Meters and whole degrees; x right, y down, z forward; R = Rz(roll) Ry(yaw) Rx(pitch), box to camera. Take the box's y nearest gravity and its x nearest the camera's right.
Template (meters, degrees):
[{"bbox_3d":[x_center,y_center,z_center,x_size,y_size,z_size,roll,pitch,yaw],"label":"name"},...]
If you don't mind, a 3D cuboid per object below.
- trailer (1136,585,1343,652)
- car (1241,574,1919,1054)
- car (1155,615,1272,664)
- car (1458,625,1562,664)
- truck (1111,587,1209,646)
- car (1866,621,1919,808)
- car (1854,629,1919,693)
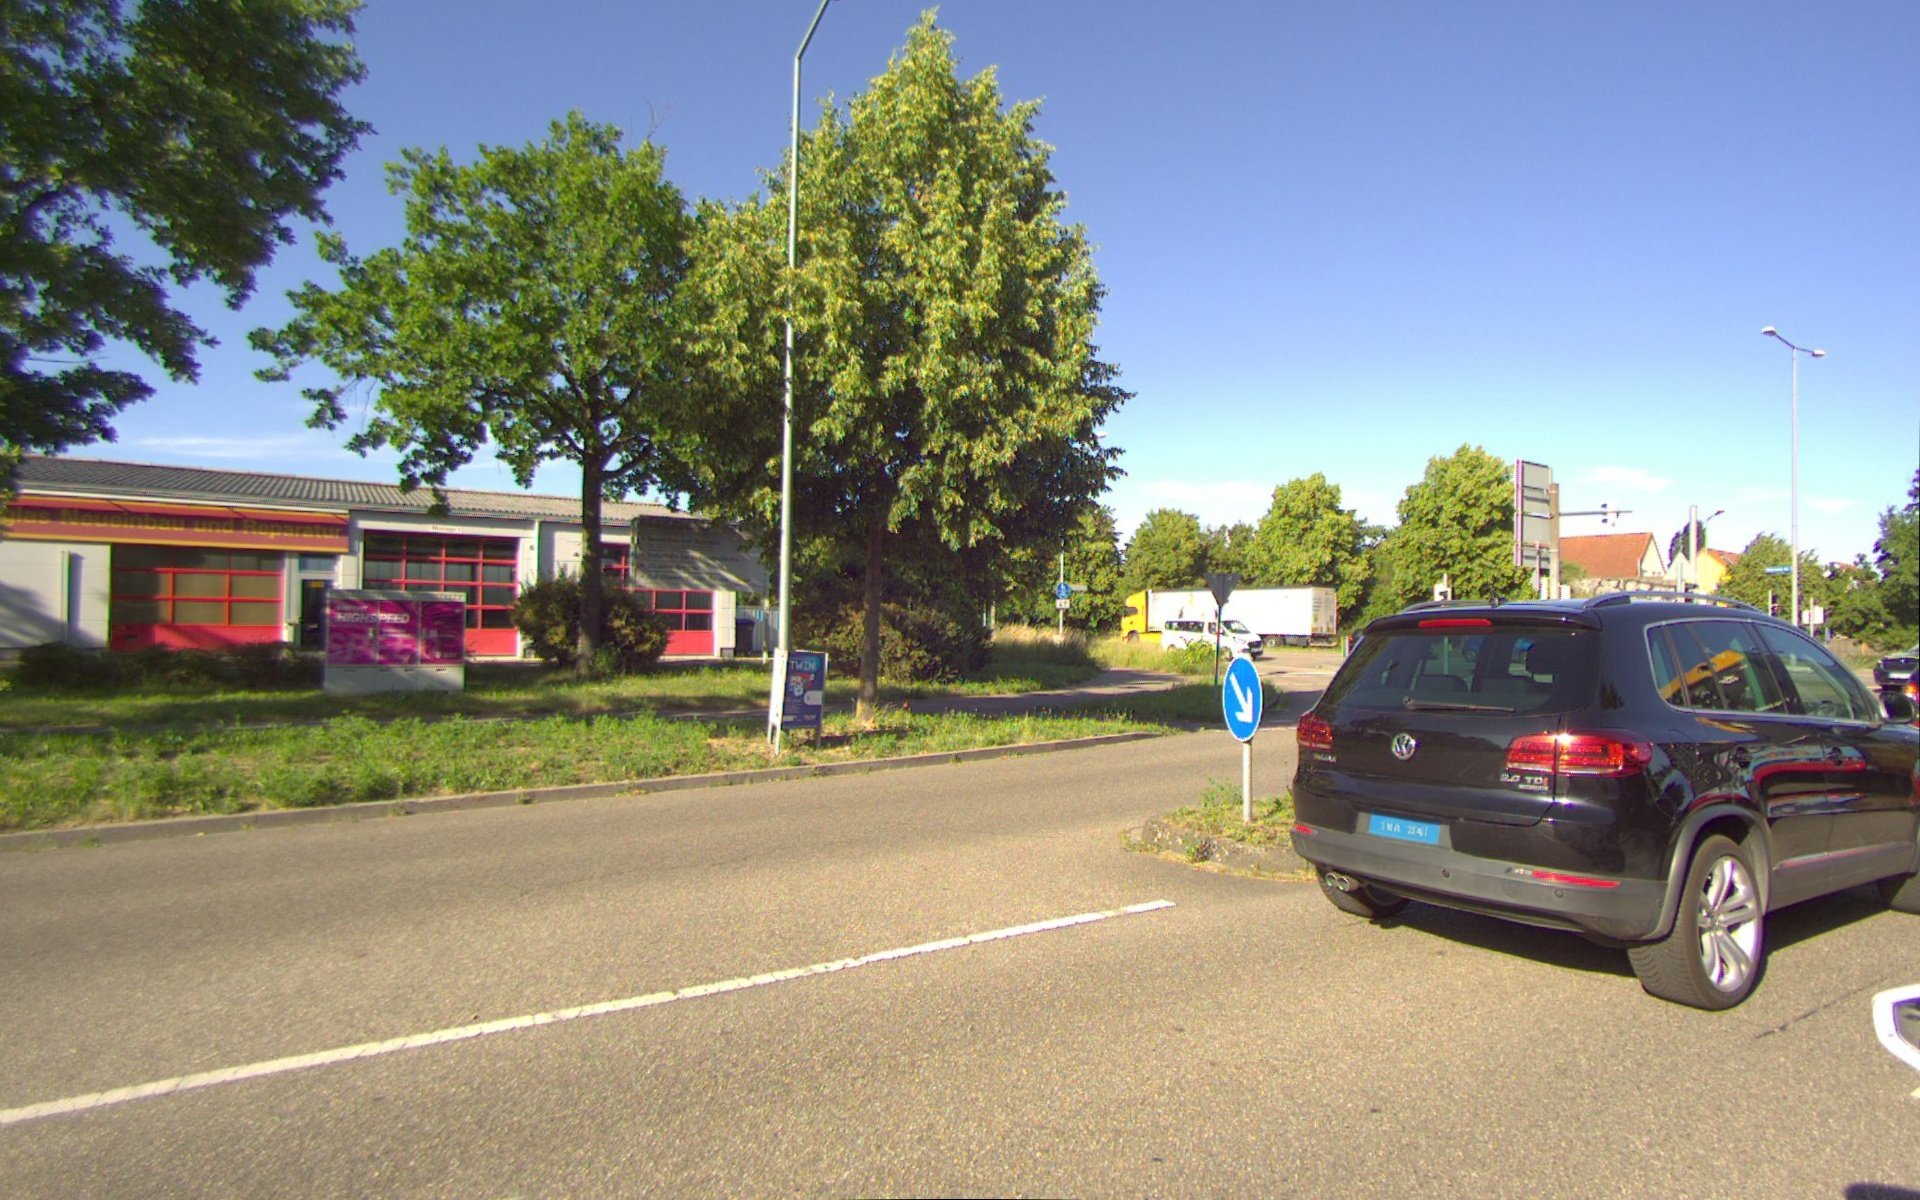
[{"bbox_3d":[18.259,1.180,67.366,3.406,4.066,14.560,1,-1,-35],"label":"trailer"},{"bbox_3d":[3.559,0.824,5.313,3.954,1.675,1.763,1,-3,-31],"label":"car"},{"bbox_3d":[12.060,1.827,48.106,2.160,2.146,5.350,2,-1,-35],"label":"car"},{"bbox_3d":[23.764,1.907,43.495,1.733,1.581,3.559,2,-2,-35],"label":"car"},{"bbox_3d":[14.431,1.187,72.836,3.407,4.066,6.433,1,-1,-35],"label":"truck"},{"bbox_3d":[10.237,1.010,9.214,3.954,1.610,1.753,1,-3,-31],"label":"car"},{"bbox_3d":[24.872,1.524,25.277,4.016,1.546,1.761,1,-2,-19],"label":"car"}]
